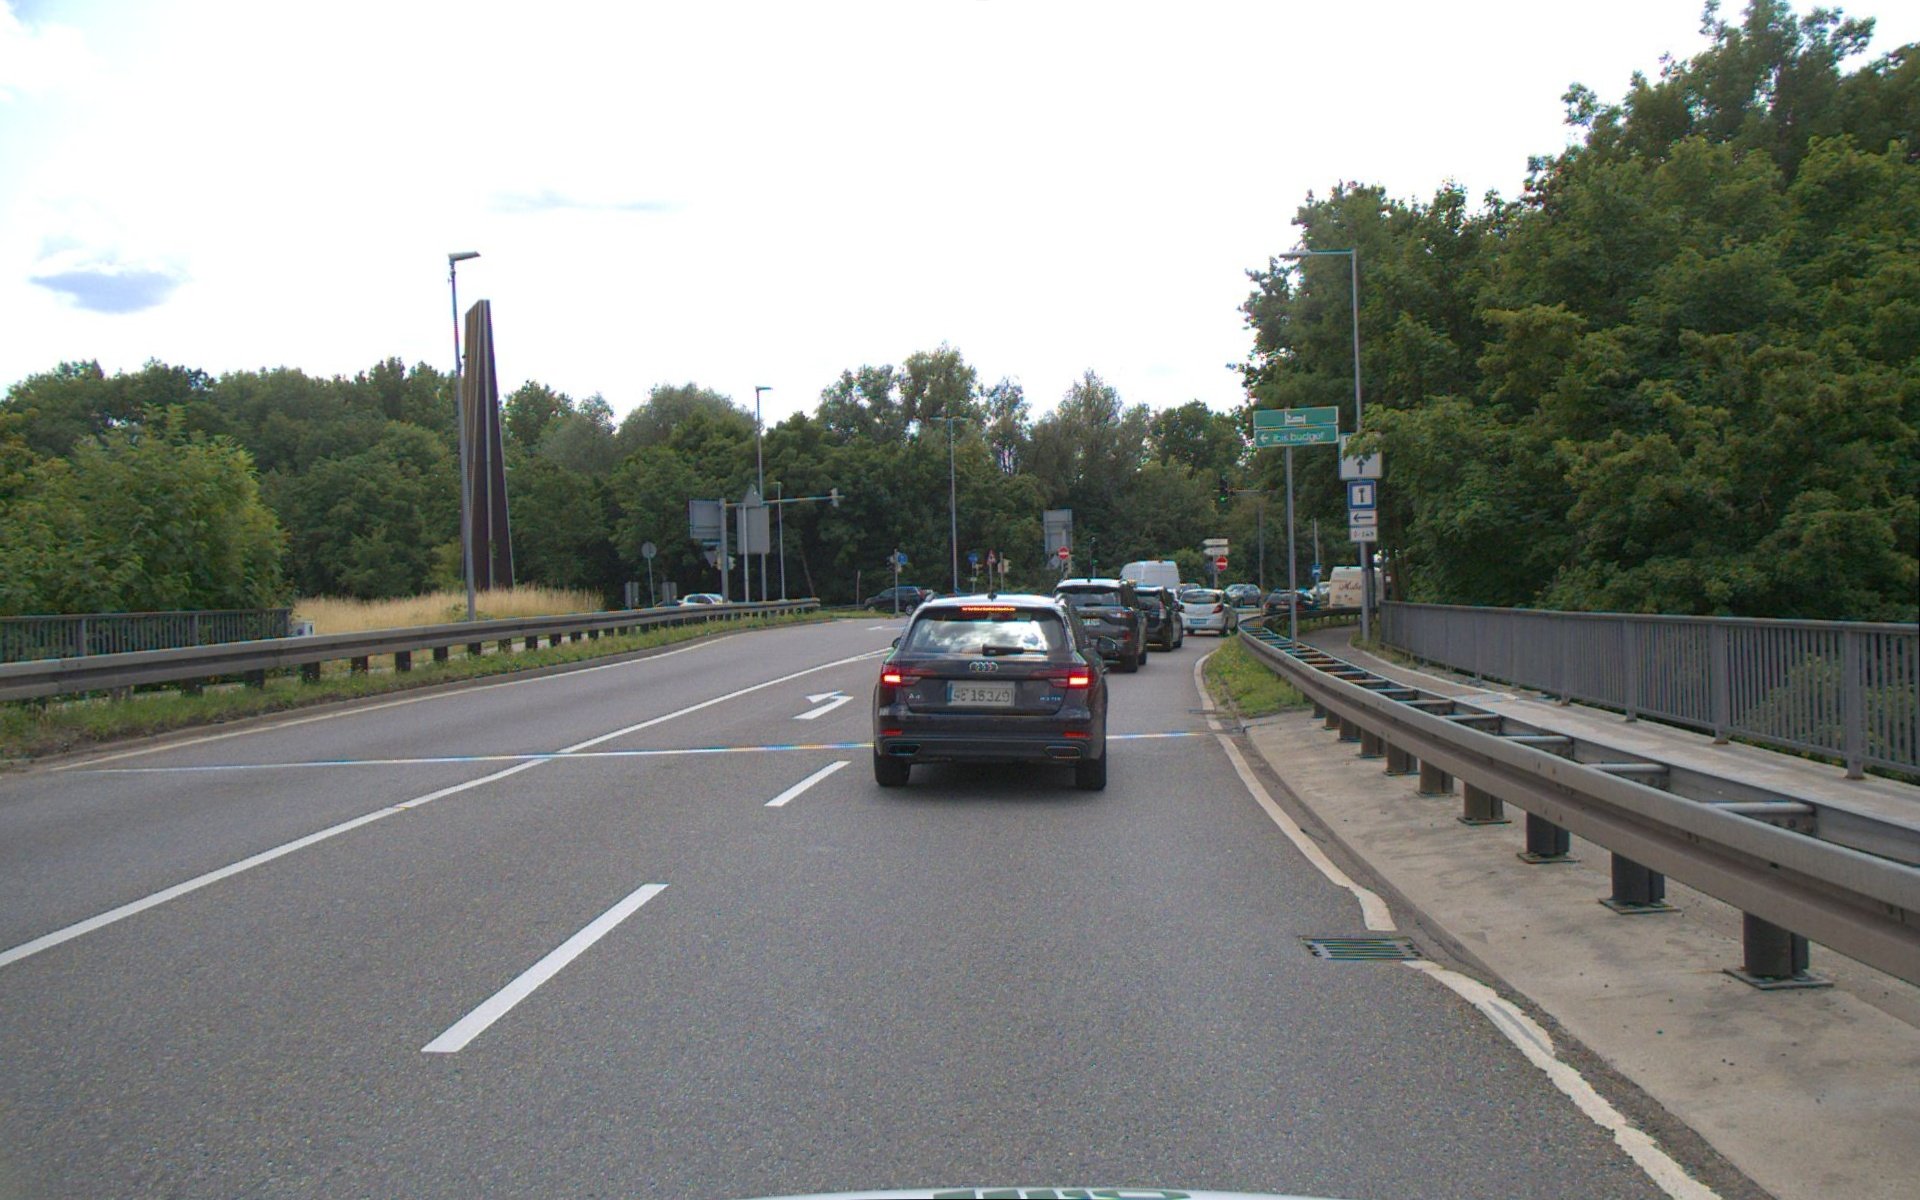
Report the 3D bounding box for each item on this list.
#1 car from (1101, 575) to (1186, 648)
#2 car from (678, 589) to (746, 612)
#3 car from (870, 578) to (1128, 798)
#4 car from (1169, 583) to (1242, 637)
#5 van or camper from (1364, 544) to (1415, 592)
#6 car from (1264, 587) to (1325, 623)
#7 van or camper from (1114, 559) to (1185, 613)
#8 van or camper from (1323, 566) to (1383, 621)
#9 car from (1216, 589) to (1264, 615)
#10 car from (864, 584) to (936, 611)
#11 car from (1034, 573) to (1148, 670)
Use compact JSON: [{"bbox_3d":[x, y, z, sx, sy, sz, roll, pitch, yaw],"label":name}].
[{"bbox_3d":[4.615,0.264,41.282,1.696,1.680,3.859,2,1,12],"label":"car"},{"bbox_3d":[-13.088,0.010,87.273,3.522,1.136,1.586,1,0,39],"label":"car"},{"bbox_3d":[0.431,0.604,13.552,1.789,1.518,4.209,0,0,4],"label":"car"},{"bbox_3d":[8.001,0.291,53.653,1.697,1.680,3.857,0,1,19],"label":"car"},{"bbox_3d":[34.861,-2.611,134.054,2.845,3.678,8.129,2,2,23],"label":"van or camper"},{"bbox_3d":[13.873,0.196,68.447,1.650,1.422,3.676,0,0,25],"label":"car"},{"bbox_3d":[8.746,-0.645,76.887,2.229,2.381,5.235,1,1,-6],"label":"van or camper"},{"bbox_3d":[19.419,-0.352,81.540,1.955,2.635,4.085,1,1,27],"label":"van or camper"},{"bbox_3d":[18.530,0.112,109.320,1.955,1.651,3.994,1,0,28],"label":"car"},{"bbox_3d":[-3.412,-0.167,94.139,3.721,1.395,1.672,1,2,21],"label":"car"},{"bbox_3d":[2.510,0.358,30.885,1.782,1.680,3.859,1,1,9],"label":"car"}]
